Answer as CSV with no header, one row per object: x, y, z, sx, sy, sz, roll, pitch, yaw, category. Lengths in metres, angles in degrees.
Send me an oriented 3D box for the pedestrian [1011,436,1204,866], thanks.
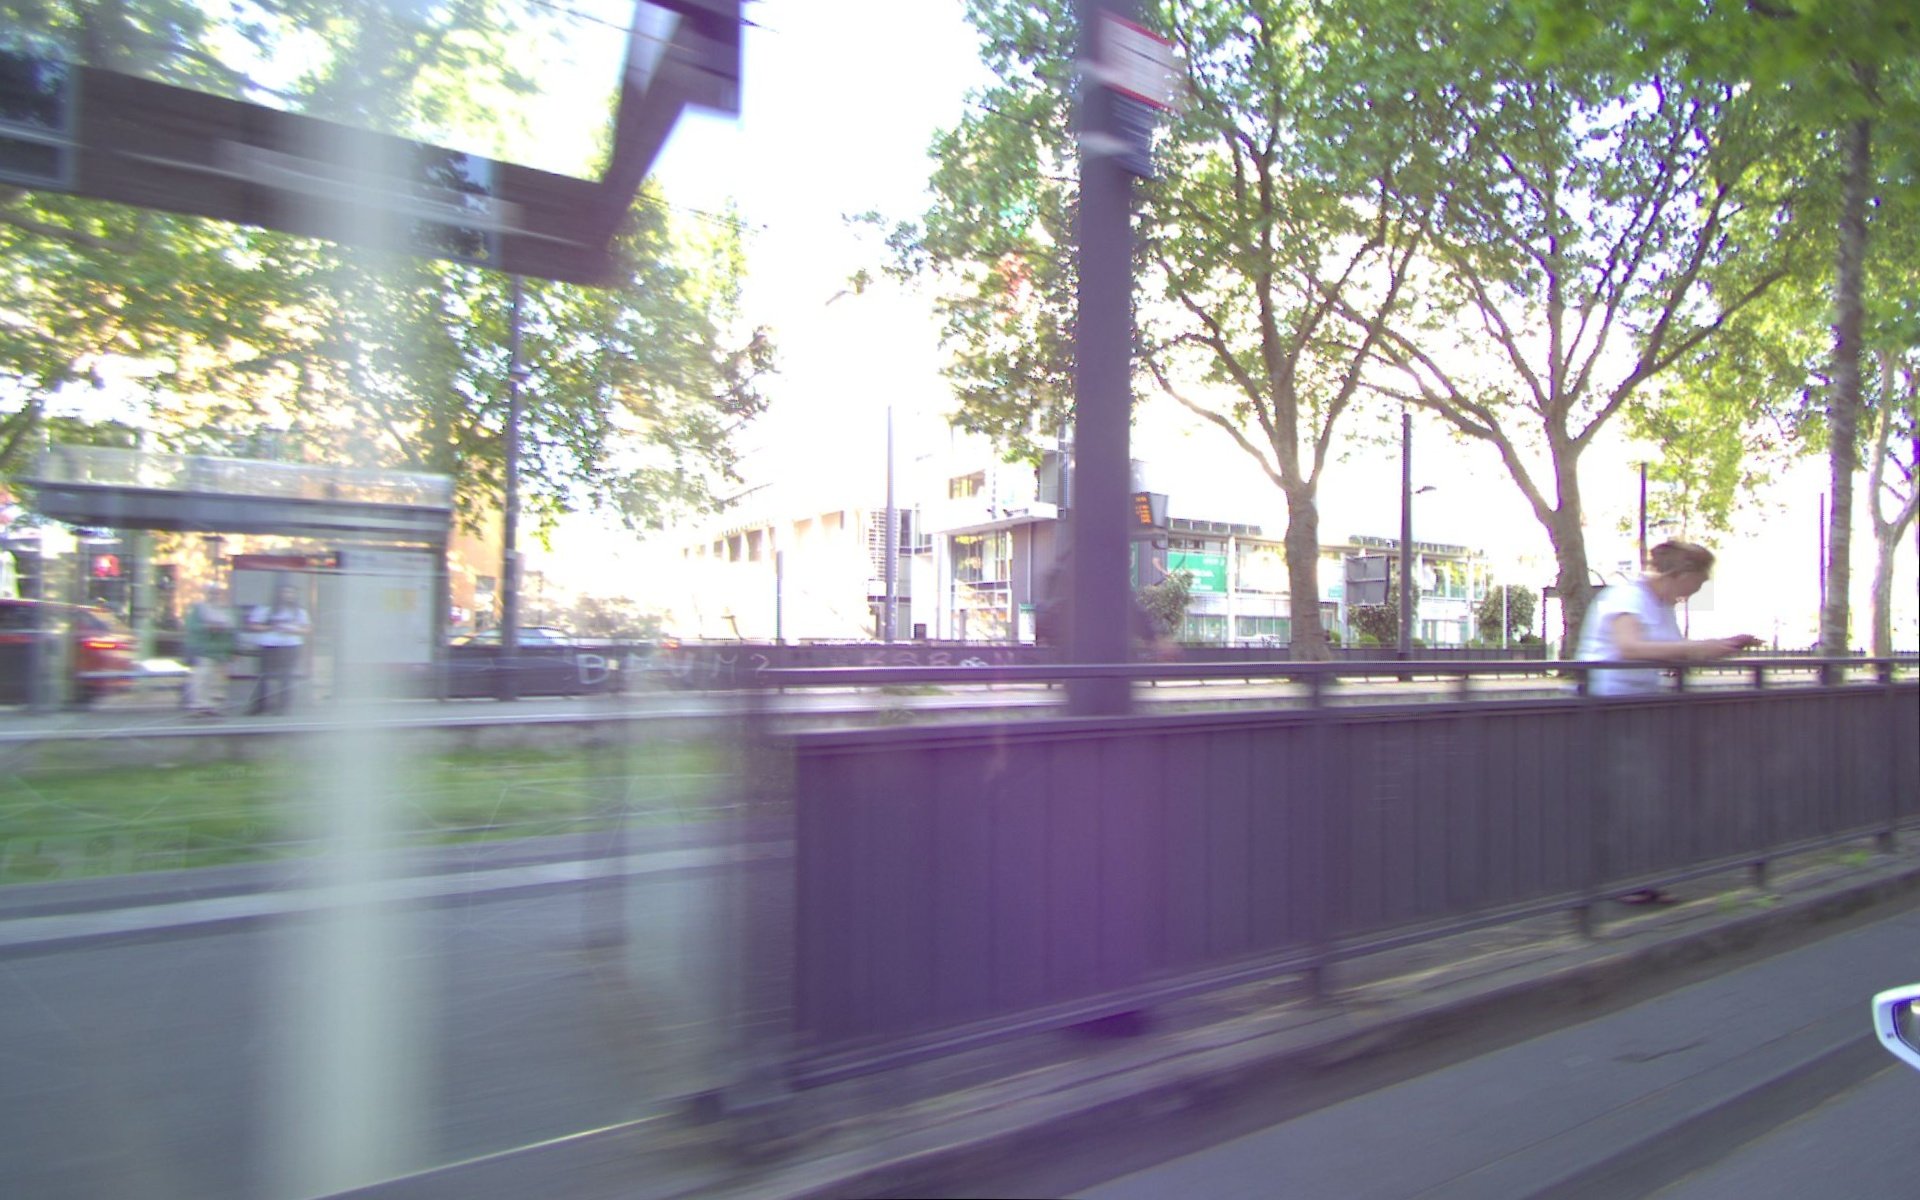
0.697,0.234,4.796,0.631,1.863,0.643,2,-2,-31,pedestrian

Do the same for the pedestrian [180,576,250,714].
-8.463,0.507,11.410,0.547,1.517,0.547,2,-2,-42,pedestrian

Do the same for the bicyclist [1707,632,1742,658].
38.592,2.271,50.698,1.359,1.266,0.998,2,0,-33,bicyclist

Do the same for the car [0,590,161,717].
-13.678,0.712,13.730,3.952,1.661,1.985,2,-3,-29,car

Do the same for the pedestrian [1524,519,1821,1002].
2.846,0.572,4.041,0.638,1.712,0.736,2,0,-32,pedestrian

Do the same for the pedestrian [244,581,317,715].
-7.904,0.546,11.688,0.603,1.505,0.564,2,-2,-42,pedestrian

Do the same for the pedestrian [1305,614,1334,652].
15.766,1.440,44.063,0.759,1.613,0.901,2,-2,-31,pedestrian

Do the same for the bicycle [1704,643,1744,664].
38.562,2.708,50.685,2.558,1.010,0.796,2,0,-33,bicycle

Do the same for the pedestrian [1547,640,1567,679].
31.565,3.144,53.116,0.825,2.002,0.602,2,0,-33,pedestrian
